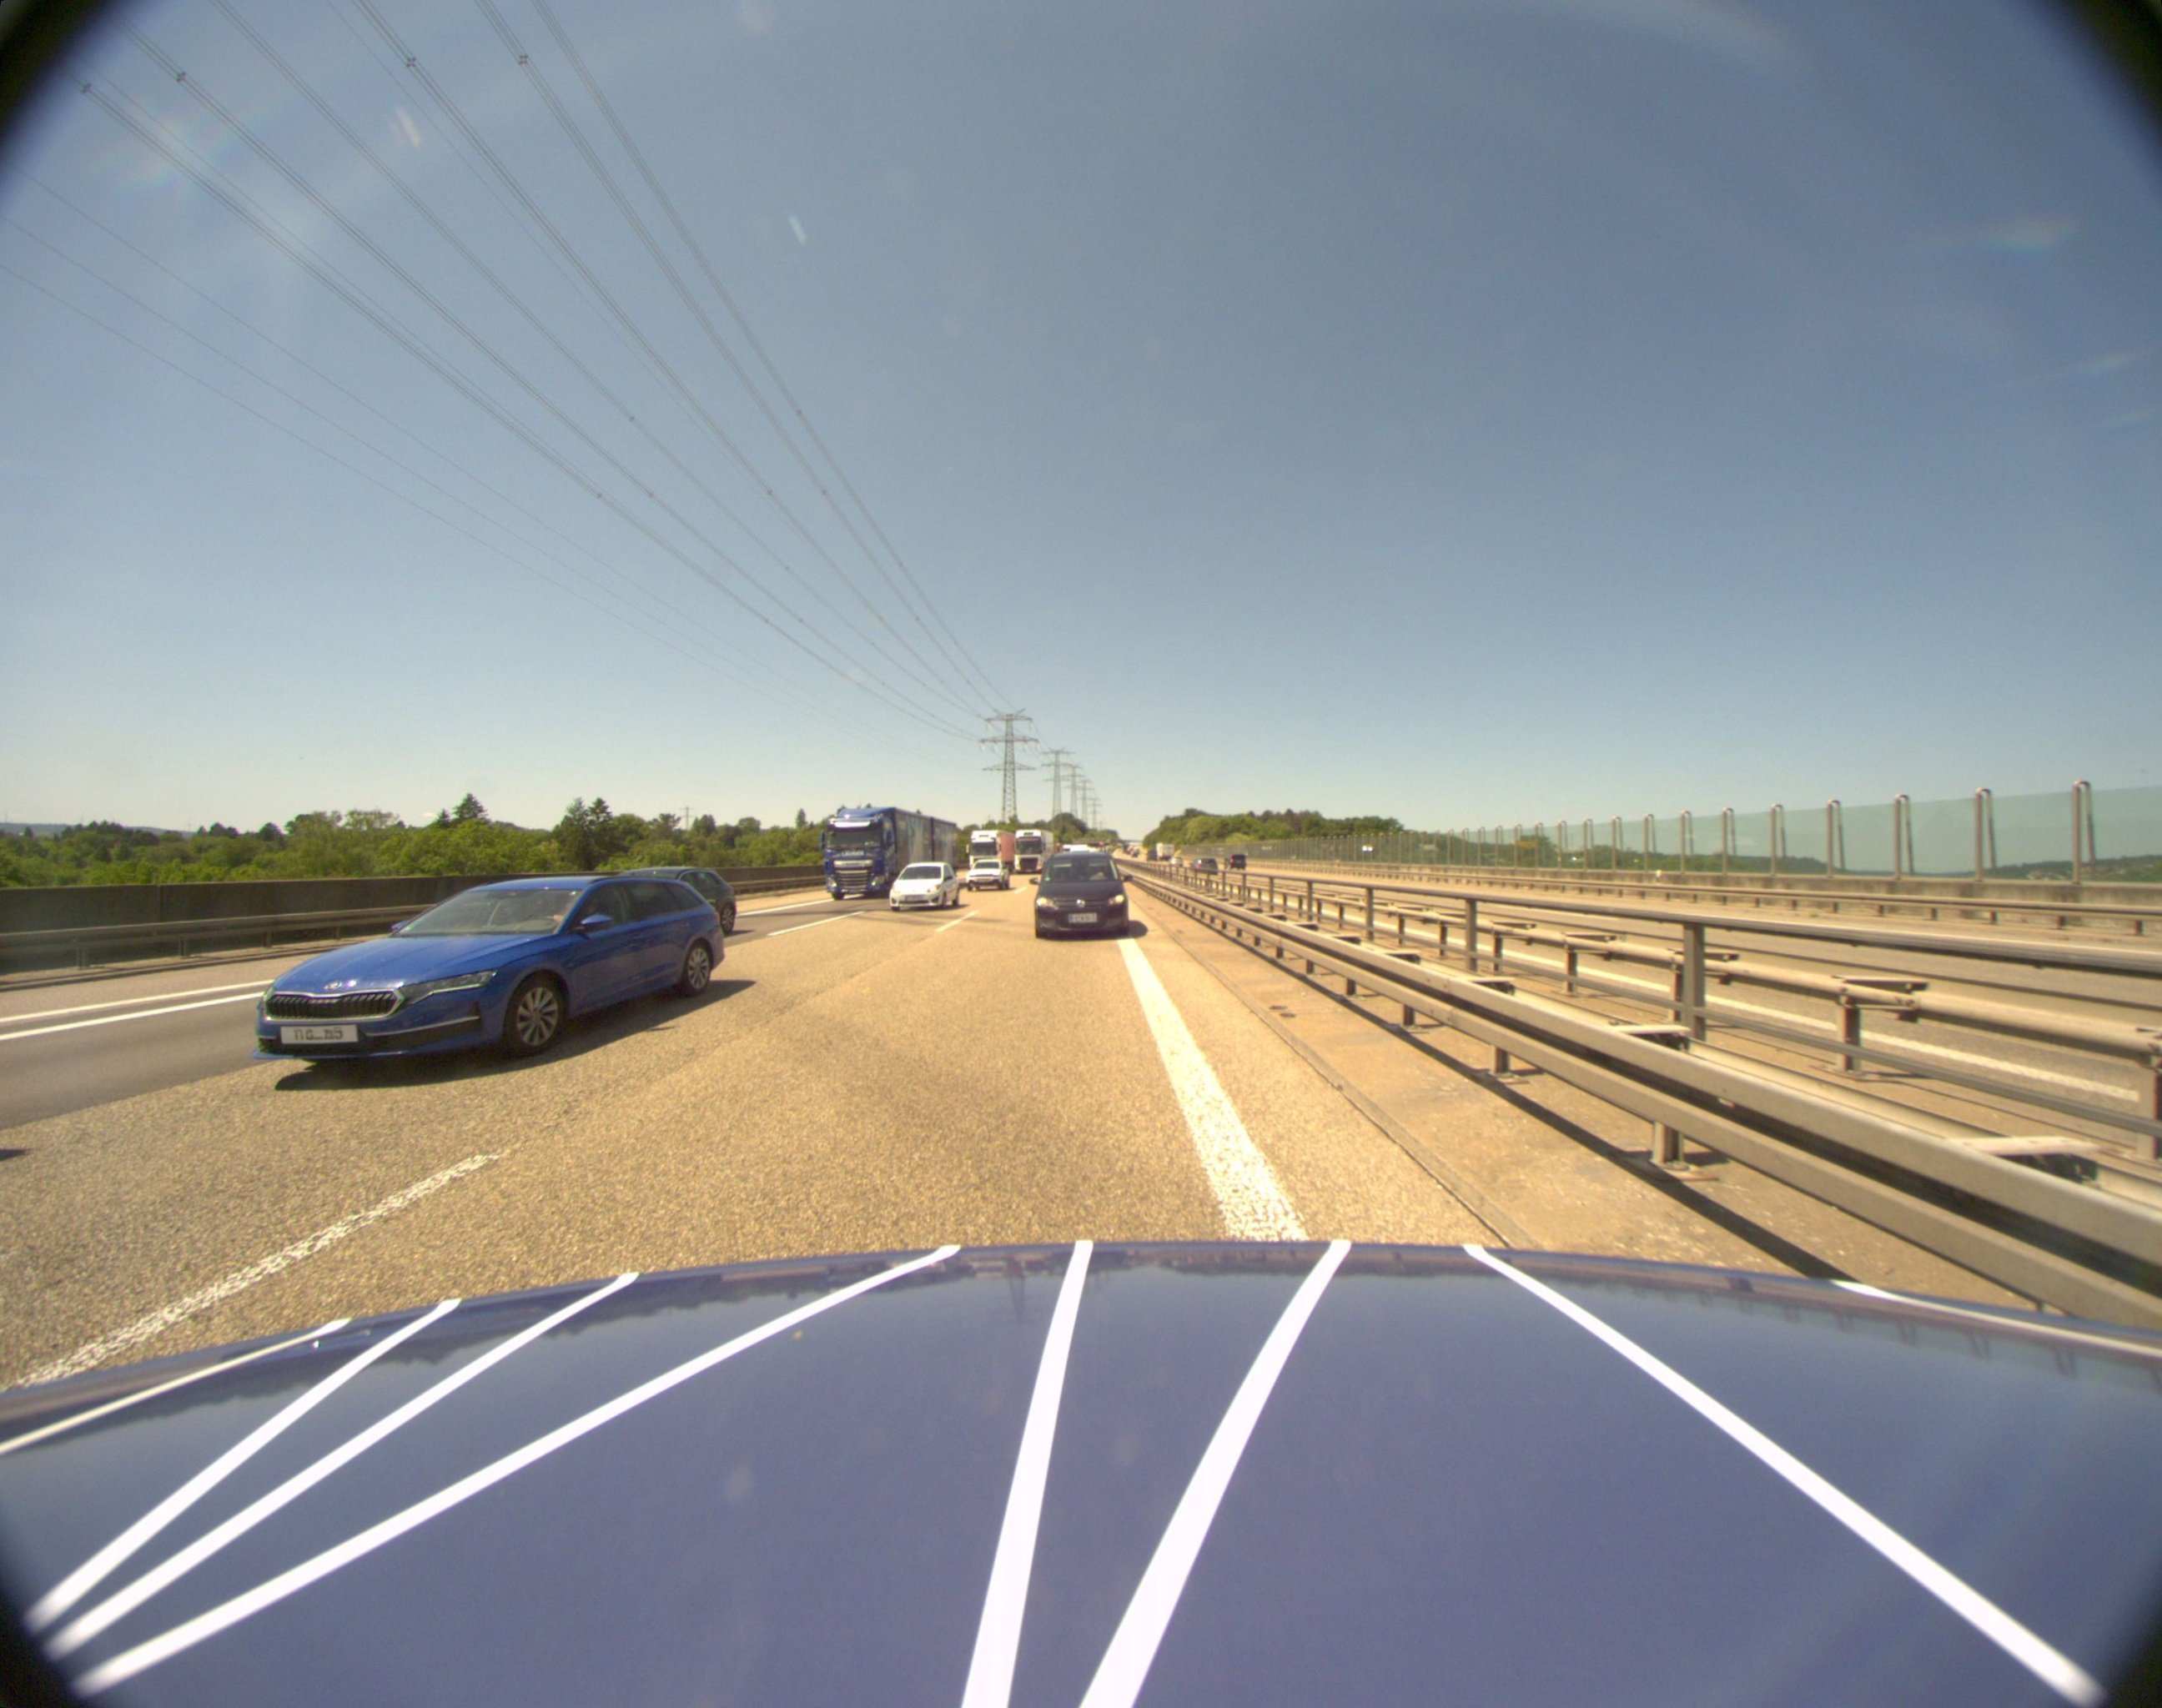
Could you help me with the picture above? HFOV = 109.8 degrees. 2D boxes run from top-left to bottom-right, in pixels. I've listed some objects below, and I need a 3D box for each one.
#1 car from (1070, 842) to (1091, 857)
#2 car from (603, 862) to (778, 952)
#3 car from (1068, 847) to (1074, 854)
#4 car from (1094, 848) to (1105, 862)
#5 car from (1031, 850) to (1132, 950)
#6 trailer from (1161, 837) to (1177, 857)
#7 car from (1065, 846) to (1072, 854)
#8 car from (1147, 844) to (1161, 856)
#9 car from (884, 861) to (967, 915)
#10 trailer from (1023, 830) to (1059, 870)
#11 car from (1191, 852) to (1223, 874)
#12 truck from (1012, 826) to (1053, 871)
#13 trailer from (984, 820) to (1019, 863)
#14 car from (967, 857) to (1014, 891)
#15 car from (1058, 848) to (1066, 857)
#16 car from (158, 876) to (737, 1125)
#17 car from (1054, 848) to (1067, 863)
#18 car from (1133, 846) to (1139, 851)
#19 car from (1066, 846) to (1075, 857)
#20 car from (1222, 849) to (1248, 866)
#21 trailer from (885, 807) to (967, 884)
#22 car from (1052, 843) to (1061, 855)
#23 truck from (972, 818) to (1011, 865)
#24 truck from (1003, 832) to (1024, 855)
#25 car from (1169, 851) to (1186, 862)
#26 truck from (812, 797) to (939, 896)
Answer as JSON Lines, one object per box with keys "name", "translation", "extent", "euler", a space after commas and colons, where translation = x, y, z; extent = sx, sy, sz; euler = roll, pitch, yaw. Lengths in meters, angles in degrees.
{"name": "car", "translation": [-0.025, -0.478, 78.092], "extent": [1.924, 1.501, 3.996], "euler": [-2, 1, 1]}
{"name": "car", "translation": [-8.615, 1.078, 17.219], "extent": [1.712, 1.645, 4.117], "euler": [-2, 1, 1]}
{"name": "car", "translation": [-3.261, -1.106, 243.970], "extent": [1.704, 2.116, 3.999], "euler": [2, 1, 1]}
{"name": "car", "translation": [3.147, 0.147, 127.451], "extent": [1.704, 2.116, 3.999], "euler": [-2, 1, 1]}
{"name": "car", "translation": [0.019, 0.799, 15.294], "extent": [1.713, 1.669, 3.931], "euler": [-2, 1, 0]}
{"name": "trailer", "translation": [19.687, -1.697, 170.759], "extent": [2.912, 4.282, 13.663], "euler": [1, 1, 4]}
{"name": "car", "translation": [-3.551, -1.183, 212.859], "extent": [1.704, 2.116, 3.999], "euler": [2, 1, 1]}
{"name": "car", "translation": [15.256, -0.860, 158.852], "extent": [1.999, 2.567, 6.649], "euler": [1, 1, -1]}
{"name": "car", "translation": [-4.909, 1.024, 24.561], "extent": [1.712, 1.443, 4.144], "euler": [-2, 1, 1]}
{"name": "trailer", "translation": [-4.047, -0.464, 79.020], "extent": [2.822, 3.830, 9.085], "euler": [-2, 1, 2]}
{"name": "car", "translation": [9.199, 0.639, 55.795], "extent": [1.766, 1.499, 4.223], "euler": [0, 0, 1]}
{"name": "truck", "translation": [-4.373, -0.527, 70.344], "extent": [2.849, 3.804, 8.264], "euler": [-2, 1, 2]}
{"name": "trailer", "translation": [-8.136, -1.291, 78.765], "extent": [2.608, 4.094, 9.083], "euler": [-2, 1, 0]}
{"name": "car", "translation": [-4.496, 0.973, 38.199], "extent": [1.712, 1.501, 4.144], "euler": [-2, 1, 1]}
{"name": "car", "translation": [-4.707, -0.419, 186.033], "extent": [1.704, 2.116, 3.999], "euler": [2, 1, 1]}
{"name": "car", "translation": [-5.330, 1.065, 7.434], "extent": [1.712, 1.443, 4.563], "euler": [-2, 1, 1]}
{"name": "car", "translation": [-3.210, 0.232, 118.910], "extent": [1.704, 2.116, 3.999], "euler": [2, 1, 1]}
{"name": "car", "translation": [16.859, -1.631, 233.379], "extent": [1.777, 1.483, 4.605], "euler": [0, 0, 1]}
{"name": "car", "translation": [-2.153, -0.575, 160.404], "extent": [1.704, 2.116, 3.999], "euler": [2, 1, 1]}
{"name": "car", "translation": [18.074, 0.367, 89.526], "extent": [1.962, 1.894, 4.949], "euler": [1, 1, -1]}
{"name": "trailer", "translation": [-9.094, -0.501, 45.604], "extent": [2.835, 4.065, 8.637], "euler": [-2, 1, 1]}
{"name": "car", "translation": [-5.070, -1.016, 157.529], "extent": [1.704, 2.525, 3.999], "euler": [2, 1, 1]}
{"name": "truck", "translation": [-8.132, -1.111, 70.122], "extent": [2.608, 3.964, 8.262], "euler": [-2, 1, -1]}
{"name": "truck", "translation": [-8.911, -1.391, 100.800], "extent": [2.251, 2.965, 6.242], "euler": [2, 1, -1]}
{"name": "car", "translation": [14.131, 0.326, 111.922], "extent": [1.998, 1.535, 4.385], "euler": [1, 1, 1]}
{"name": "truck", "translation": [-9.317, -0.386, 36.095], "extent": [2.859, 3.927, 10.393], "euler": [-2, 1, 1]}
